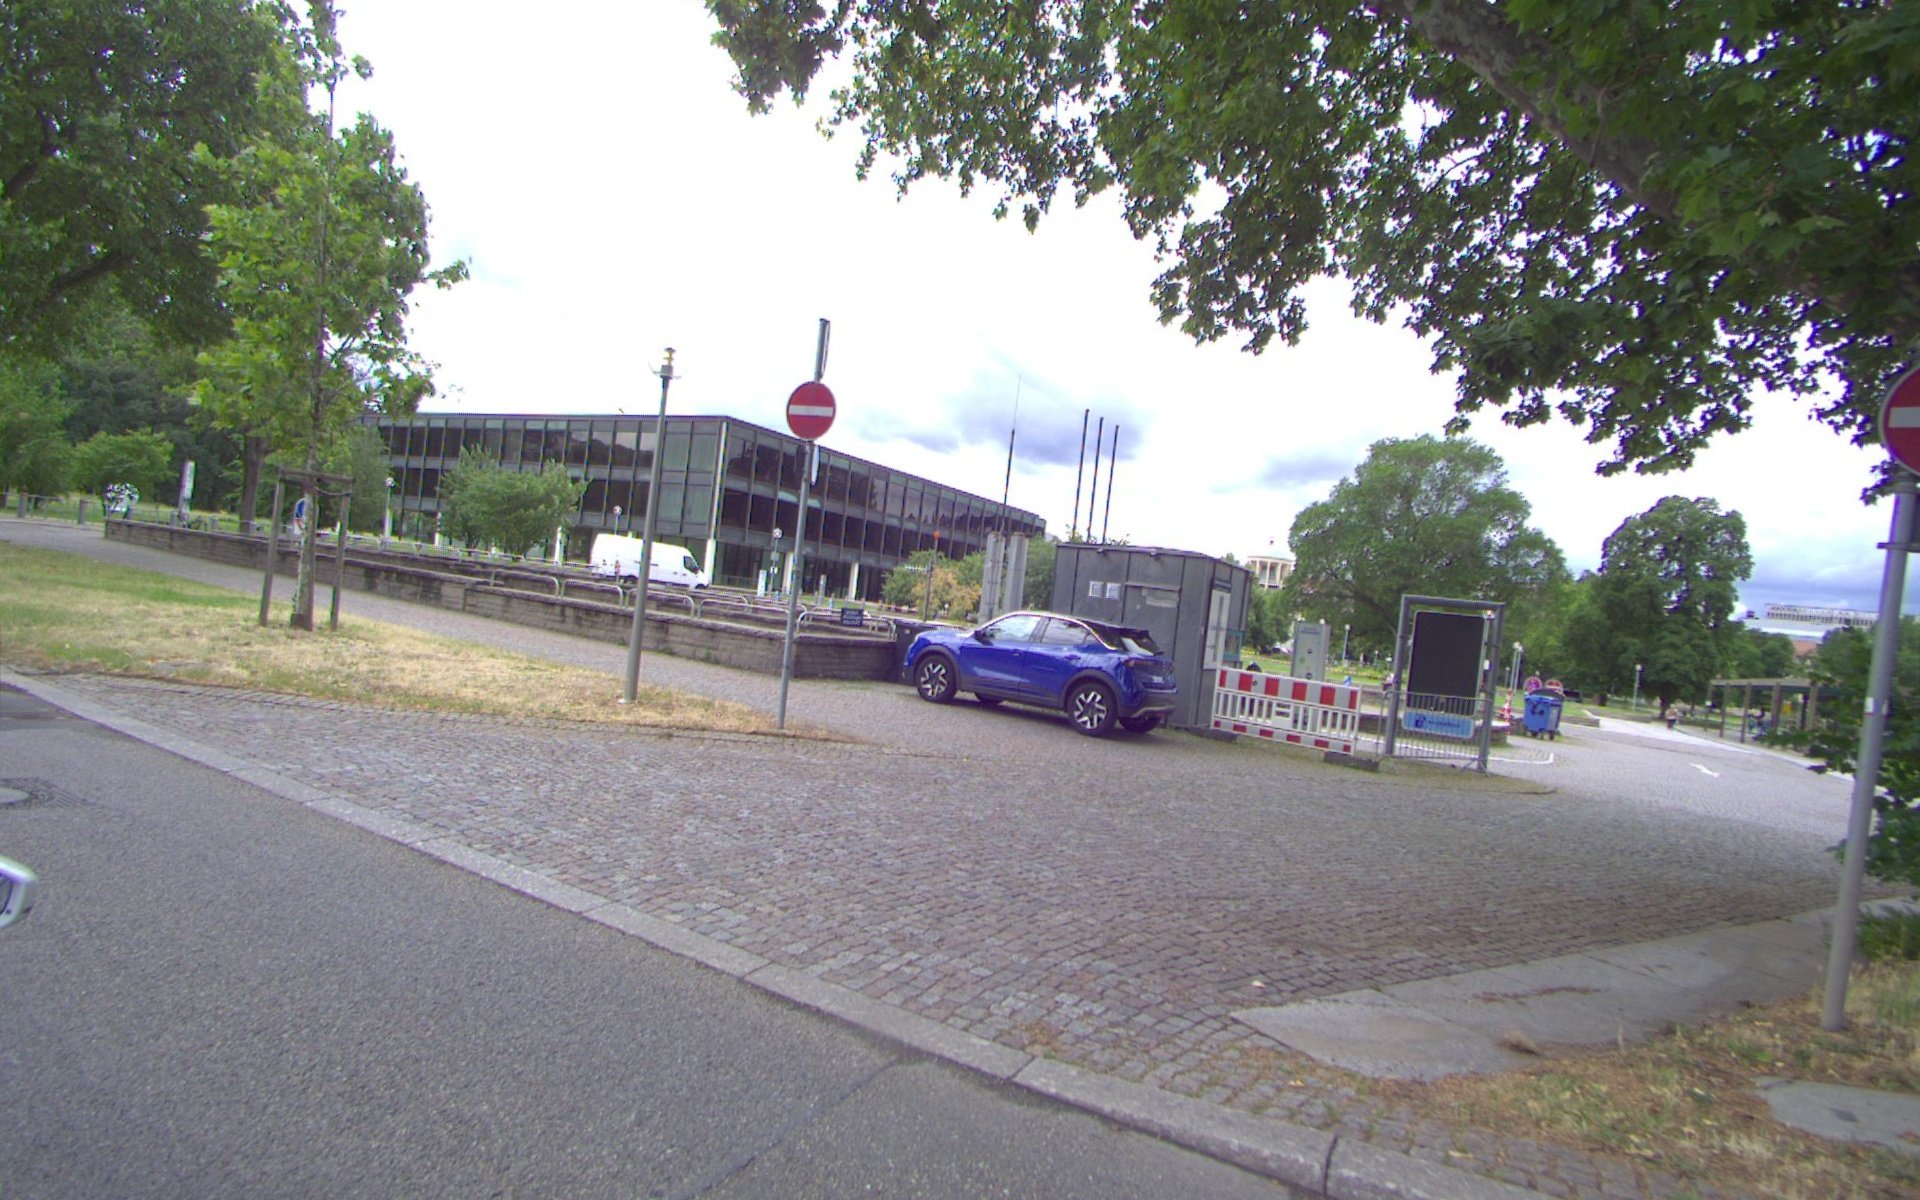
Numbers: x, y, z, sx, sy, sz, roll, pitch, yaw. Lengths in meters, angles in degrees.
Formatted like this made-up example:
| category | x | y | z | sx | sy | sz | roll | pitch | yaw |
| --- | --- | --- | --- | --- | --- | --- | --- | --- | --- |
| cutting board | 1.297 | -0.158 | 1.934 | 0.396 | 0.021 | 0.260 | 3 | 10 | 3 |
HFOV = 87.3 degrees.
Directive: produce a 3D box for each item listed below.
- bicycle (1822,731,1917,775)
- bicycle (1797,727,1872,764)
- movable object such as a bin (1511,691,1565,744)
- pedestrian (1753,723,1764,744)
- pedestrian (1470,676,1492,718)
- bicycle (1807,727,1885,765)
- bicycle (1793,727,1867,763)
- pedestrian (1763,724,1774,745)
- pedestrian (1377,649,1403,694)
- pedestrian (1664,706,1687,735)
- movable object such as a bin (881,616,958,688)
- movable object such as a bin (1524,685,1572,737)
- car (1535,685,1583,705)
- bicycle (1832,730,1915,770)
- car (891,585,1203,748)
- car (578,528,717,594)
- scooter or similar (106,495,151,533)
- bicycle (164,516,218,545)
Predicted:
| category | x | y | z | sx | sy | sz | roll | pitch | yaw |
| --- | --- | --- | --- | --- | --- | --- | --- | --- | --- |
| bicycle | 40.273 | 6.752 | 44.590 | 2.849 | 1.442 | 0.961 | 6 | -2 | 28 |
| bicycle | 41.955 | 6.957 | 48.298 | 2.536 | 1.360 | 0.726 | 6 | -2 | 32 |
| movable object such as a bin | 16.689 | 3.363 | 29.038 | 1.134 | 1.319 | 1.410 | 7 | 0 | 34 |
| pedestrian | 72.107 | 12.046 | 90.868 | 0.648 | 1.826 | 0.540 | 9 | -2 | -41 |
| pedestrian | 23.354 | 4.335 | 45.128 | 0.537 | 1.826 | 0.500 | 7 | -1 | 4 |
| bicycle | 41.155 | 6.772 | 46.775 | 2.536 | 1.360 | 0.726 | 6 | -2 | 32 |
| bicycle | 42.448 | 7.065 | 49.135 | 2.536 | 1.360 | 0.726 | 6 | -2 | 32 |
| pedestrian | 72.620 | 12.089 | 90.310 | 0.648 | 1.826 | 0.540 | 9 | -2 | -41 |
| pedestrian | 20.645 | 3.445 | 48.288 | 0.799 | 2.036 | 0.625 | 9 | -2 | -39 |
| pedestrian | 48.170 | 8.114 | 67.715 | 0.929 | 1.826 | 0.546 | 7 | -1 | 4 |
| movable object such as a bin | -0.683 | 0.892 | 17.228 | 0.757 | 1.078 | 1.009 | 10 | 2 | 29 |
| movable object such as a bin | 19.238 | 3.617 | 32.907 | 1.134 | 1.515 | 1.410 | 7 | 0 | 34 |
| car | 73.221 | 11.633 | 122.988 | 4.835 | 1.758 | 2.075 | 6 | -3 | 35 |
| bicycle | 40.300 | 6.596 | 44.431 | 2.536 | 1.360 | 0.726 | 6 | -2 | 32 |
| car | 1.194 | 0.893 | 14.466 | 3.961 | 1.571 | 1.762 | 9 | 1 | 34 |
| car | -14.935 | -1.809 | 48.461 | 2.362 | 2.288 | 6.114 | 7 | -1 | 33 |
| scooter or similar | -31.986 | -3.306 | 38.703 | 2.190 | 1.259 | 0.636 | 6 | -2 | 34 |
| bicycle | -34.753 | -3.154 | 45.451 | 2.741 | 0.986 | 0.956 | 6 | -2 | 31 |
